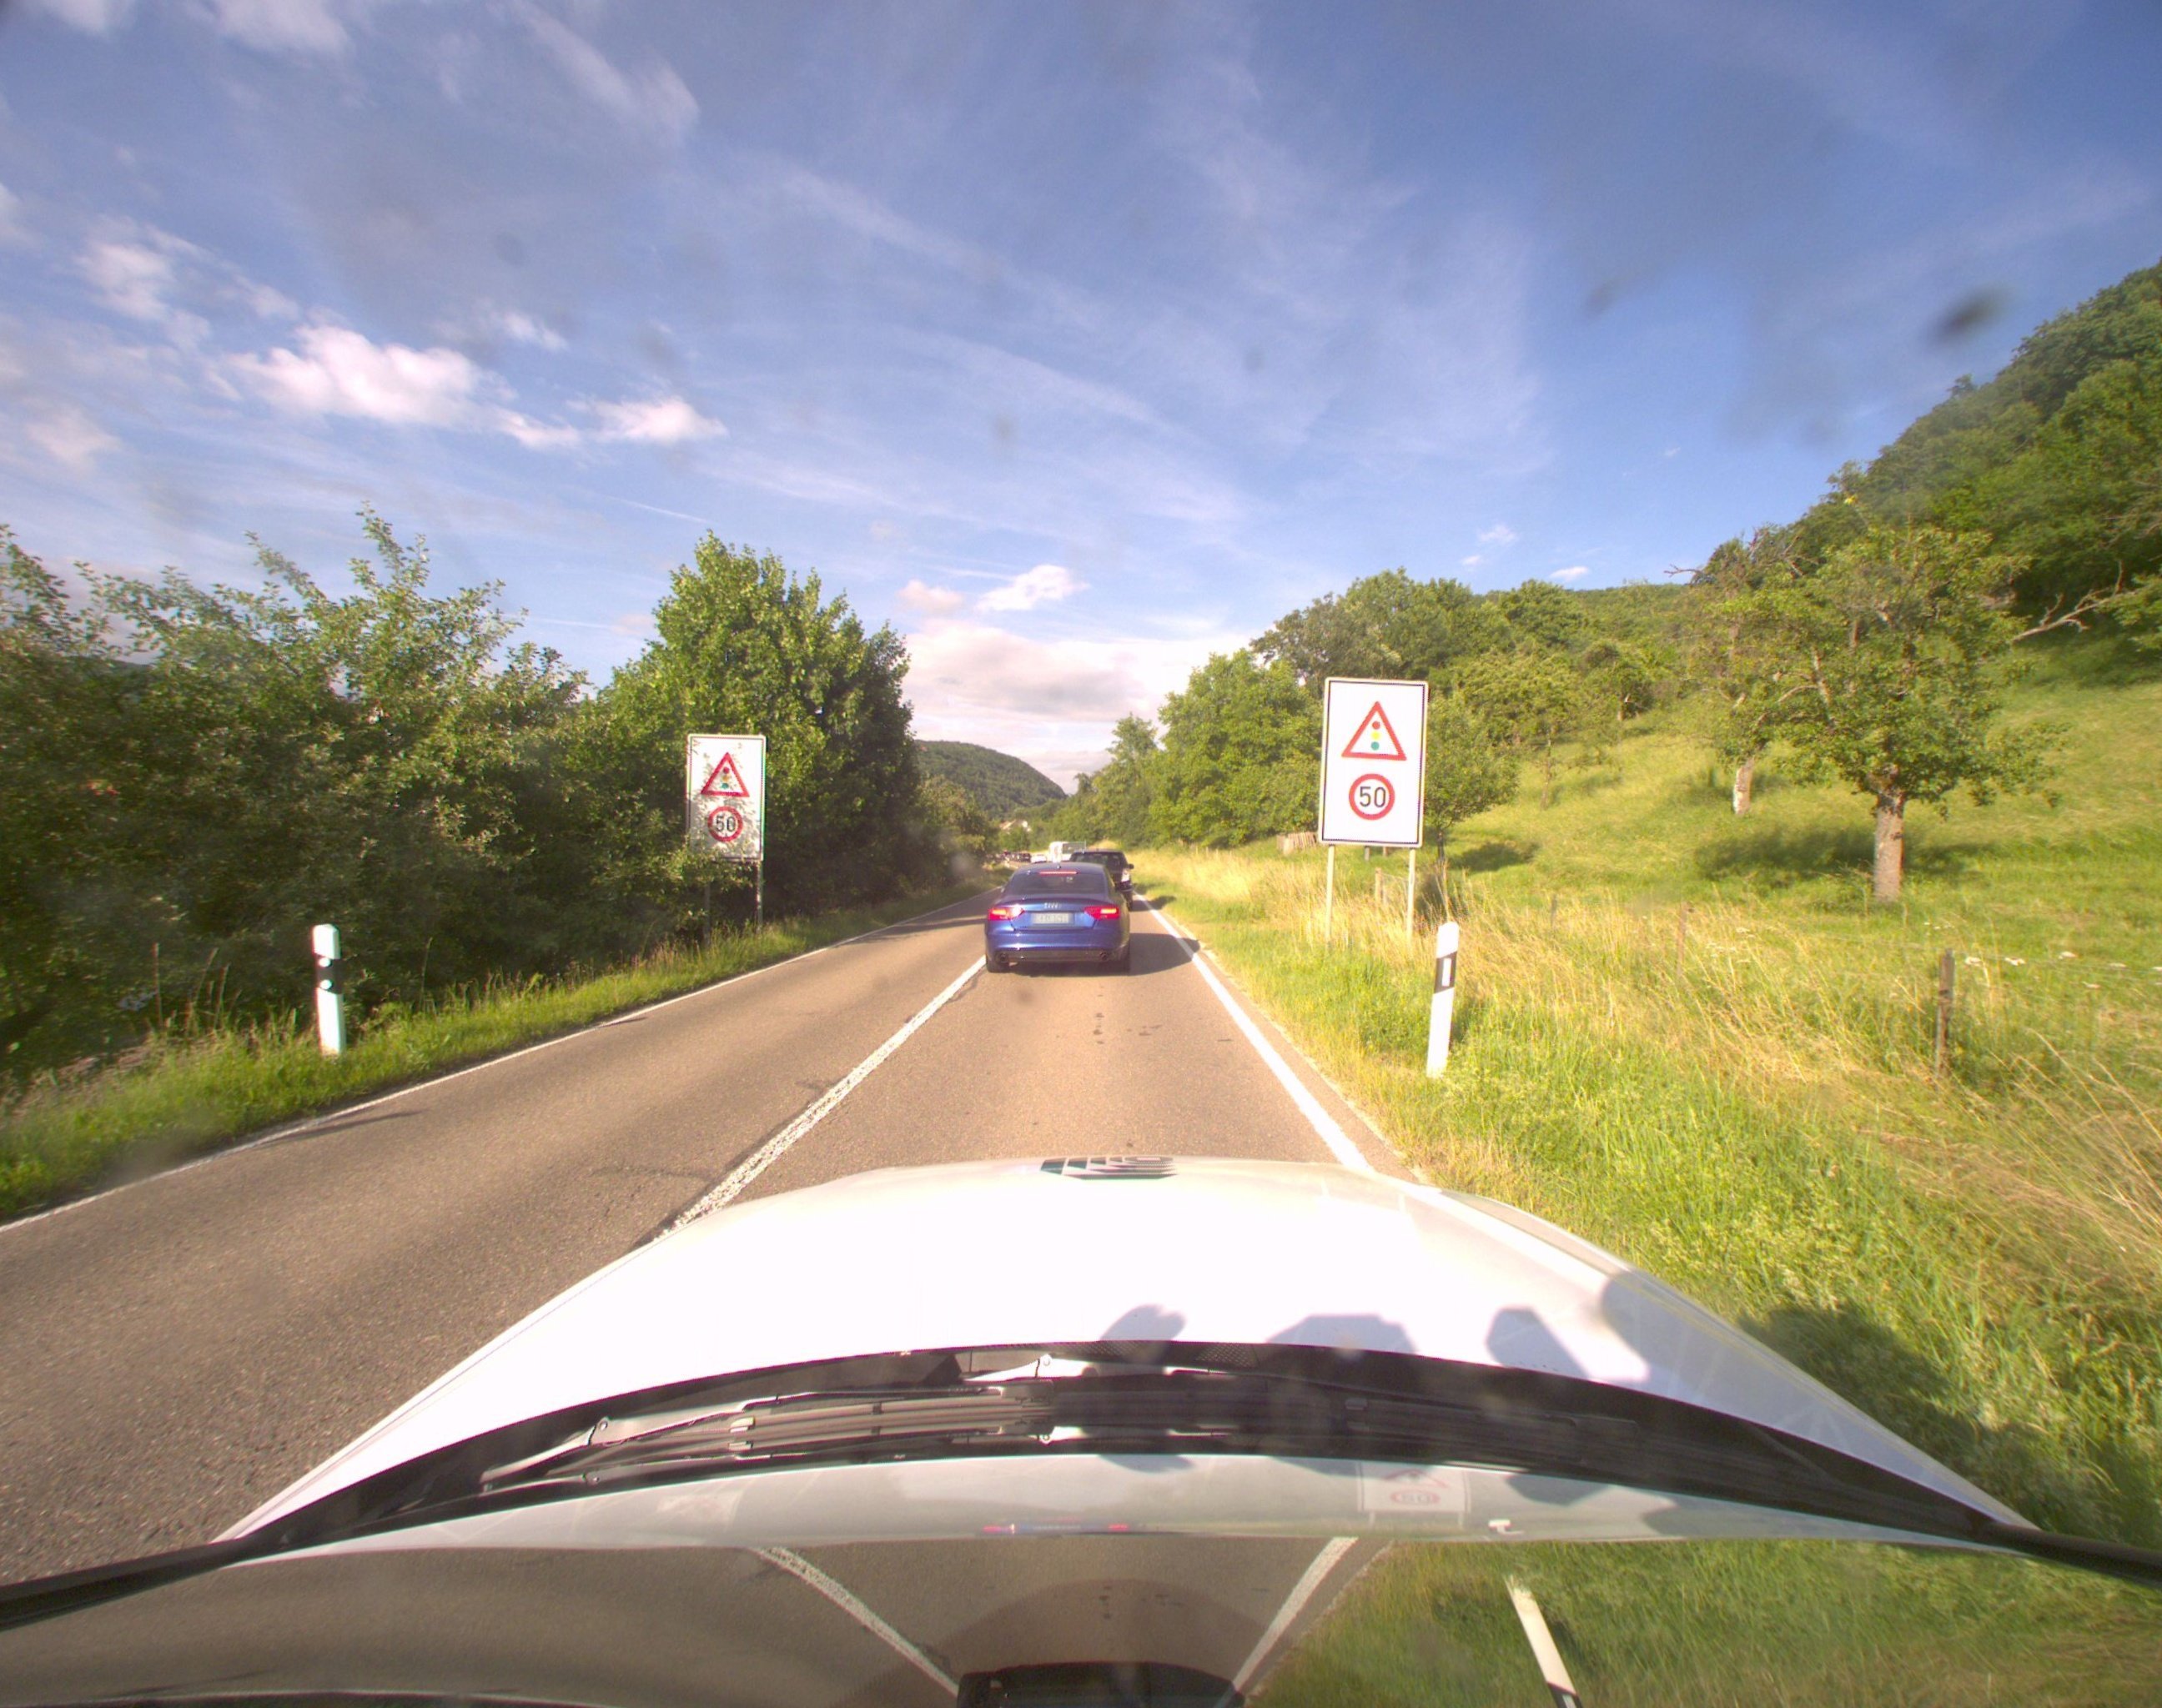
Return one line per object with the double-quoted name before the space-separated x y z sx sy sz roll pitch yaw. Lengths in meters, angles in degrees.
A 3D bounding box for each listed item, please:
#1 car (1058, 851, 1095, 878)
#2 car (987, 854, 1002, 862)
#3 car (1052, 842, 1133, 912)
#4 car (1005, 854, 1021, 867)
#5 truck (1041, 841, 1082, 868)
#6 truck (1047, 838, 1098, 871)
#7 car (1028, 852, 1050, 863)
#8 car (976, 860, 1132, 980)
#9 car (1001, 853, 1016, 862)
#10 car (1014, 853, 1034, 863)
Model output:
"car" -0.220 0.573 46.749 1.986 1.482 4.001 0 0 1
"car" -16.827 0.743 158.972 2.001 1.482 3.971 0 0 -21
"car" 0.322 0.576 22.067 1.986 1.702 4.001 0 0 1
"car" -11.034 1.039 132.157 1.997 2.014 3.980 0 -1 -15
"truck" -2.168 0.041 84.536 2.864 2.665 10.609 0 0 -9
"truck" -0.873 0.008 71.271 2.864 2.665 10.358 0 0 -9
"car" -5.708 0.504 109.693 2.000 1.482 3.974 0 0 -19
"car" -0.232 0.776 11.381 1.787 1.360 4.002 0 0 2
"car" -13.128 0.644 146.514 1.997 1.482 3.979 0 0 -15
"car" -8.555 0.647 121.891 2.000 1.482 3.974 0 0 -19
